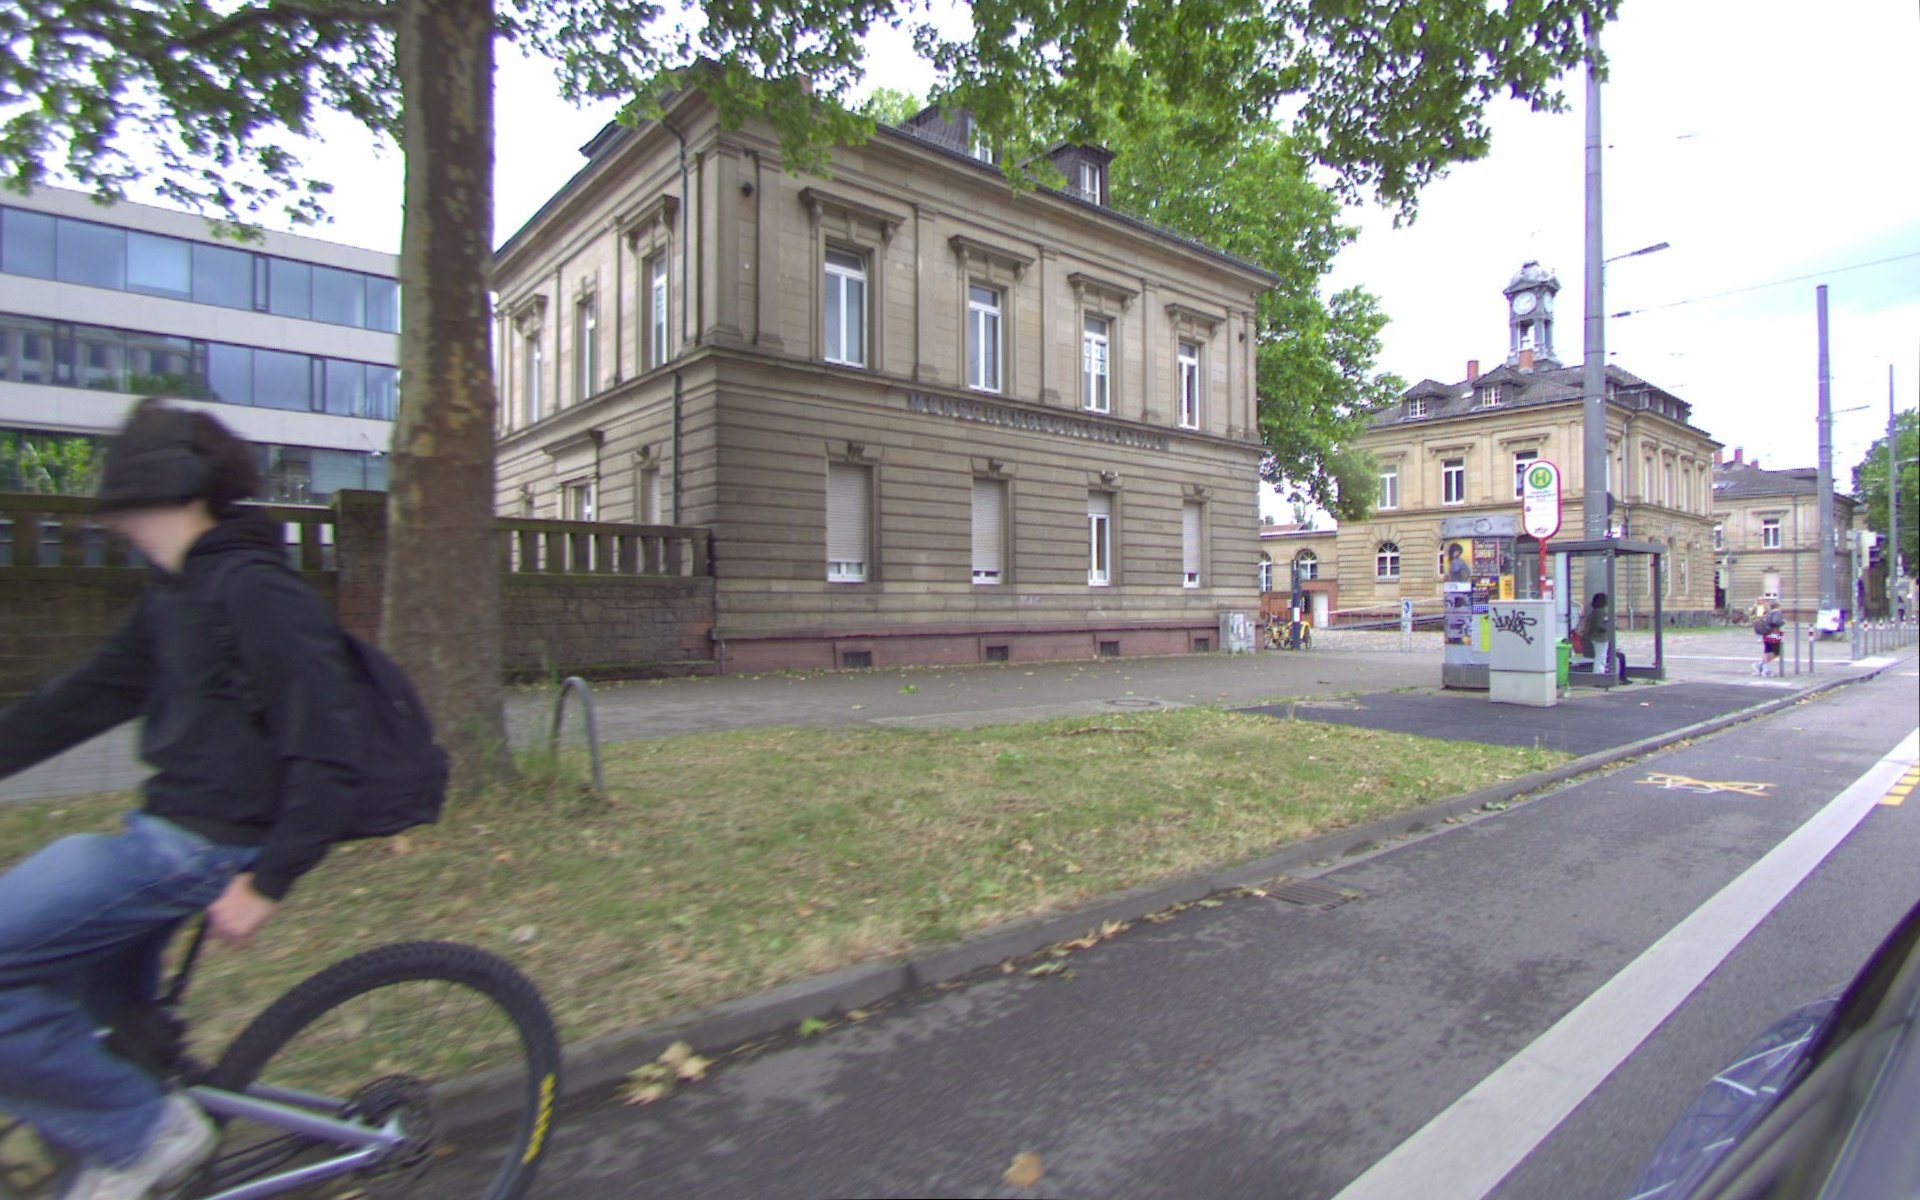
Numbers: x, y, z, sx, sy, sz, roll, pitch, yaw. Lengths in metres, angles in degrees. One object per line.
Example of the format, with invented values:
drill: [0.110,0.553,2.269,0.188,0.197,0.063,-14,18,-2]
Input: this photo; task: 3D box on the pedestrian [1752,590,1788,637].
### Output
pedestrian: [29.649,0.480,37.041,0.980,1.699,0.722,-1,0,-30]

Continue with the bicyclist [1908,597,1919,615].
bicyclist: [77.619,0.501,82.306,0.692,1.417,0.804,-1,0,42]

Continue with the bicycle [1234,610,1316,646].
bicycle: [10.054,0.914,32.200,3.347,1.082,0.901,3,-3,-42]

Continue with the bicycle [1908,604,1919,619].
bicycle: [77.637,0.922,82.330,0.674,1.179,2.083,-1,0,41]

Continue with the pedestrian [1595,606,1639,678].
pedestrian: [11.749,0.735,18.096,0.690,1.249,0.477,-1,0,-41]

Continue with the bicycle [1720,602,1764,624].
bicycle: [42.776,0.703,55.368,1.843,1.092,0.541,3,2,32]

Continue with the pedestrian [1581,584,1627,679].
pedestrian: [10.966,0.521,17.231,0.690,1.583,0.477,0,0,-41]

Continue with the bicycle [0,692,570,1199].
bicycle: [-1.824,0.823,1.500,2.244,1.164,0.653,-1,0,-42]

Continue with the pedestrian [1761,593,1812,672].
pedestrian: [16.597,0.634,20.330,0.625,1.548,0.554,-1,0,-23]

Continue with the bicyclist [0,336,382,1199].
bicyclist: [-1.495,0.385,1.836,0.653,1.550,0.641,0,0,-42]
